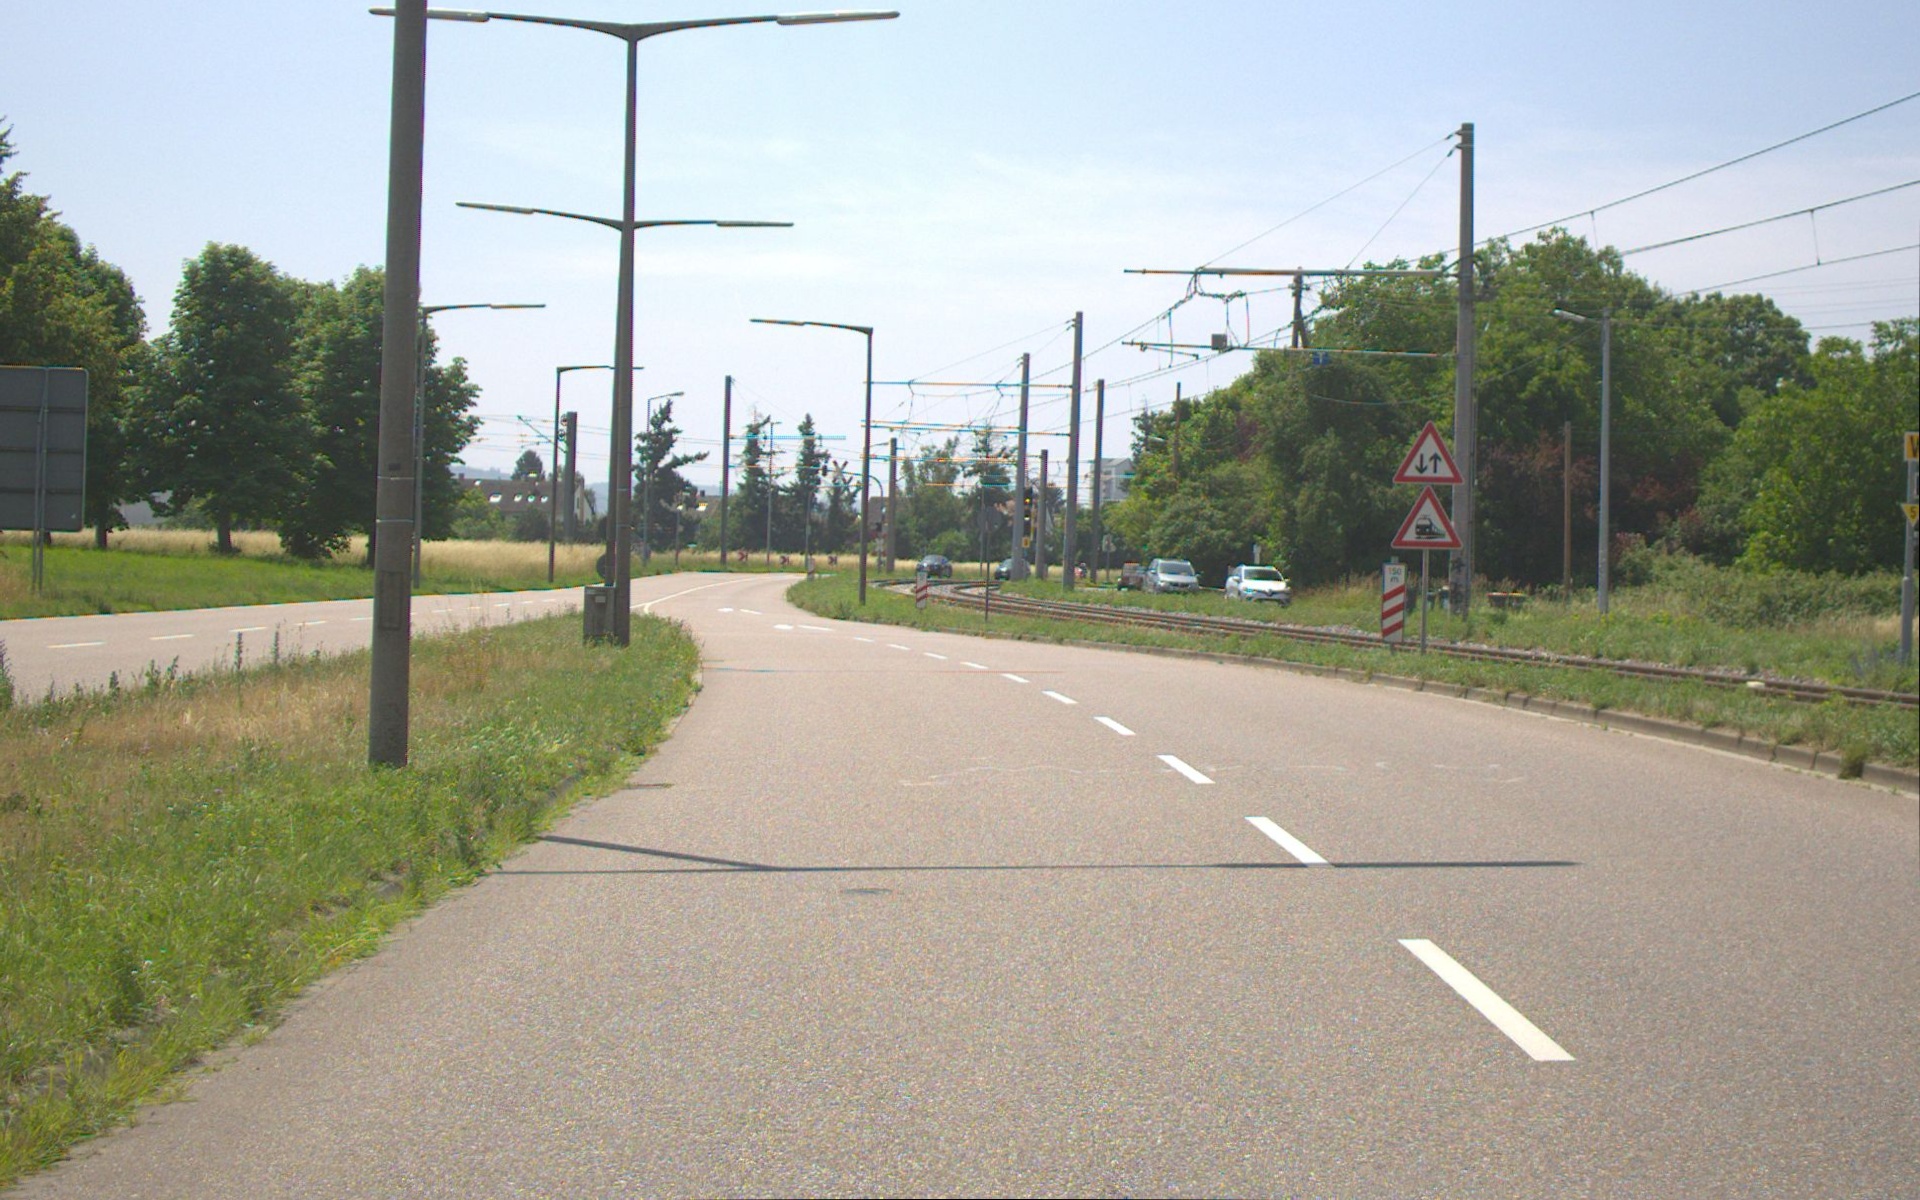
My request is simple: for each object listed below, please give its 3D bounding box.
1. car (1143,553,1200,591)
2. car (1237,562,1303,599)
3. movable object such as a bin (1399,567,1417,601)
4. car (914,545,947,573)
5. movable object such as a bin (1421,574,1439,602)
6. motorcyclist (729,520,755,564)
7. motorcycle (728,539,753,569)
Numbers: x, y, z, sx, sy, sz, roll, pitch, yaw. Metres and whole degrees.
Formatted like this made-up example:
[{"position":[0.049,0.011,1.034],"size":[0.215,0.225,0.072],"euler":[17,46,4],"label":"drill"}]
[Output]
[{"position":[8.519,-1.129,138.519],"size":[1.671,1.392,3.651],"euler":[3,0,-5],"label":"car"},{"position":[10.356,-0.660,114.985],"size":[1.562,1.175,3.080],"euler":[1,1,-7],"label":"car"},{"position":[14.138,-0.515,108.491],"size":[0.525,1.046,0.499],"euler":[1,1,6],"label":"movable object such as a bin"},{"position":[-1.982,-2.768,231.170],"size":[1.404,1.765,3.252],"euler":[3,0,12],"label":"car"},{"position":[14.810,-0.378,108.429],"size":[0.525,0.861,0.499],"euler":[1,1,6],"label":"movable object such as a bin"},{"position":[-12.195,-3.237,192.513],"size":[1.231,2.343,1.106],"euler":[3,0,2],"label":"motorcyclist"},{"position":[-12.254,-2.572,192.400],"size":[0.989,1.575,3.400],"euler":[3,0,2],"label":"motorcycle"}]
